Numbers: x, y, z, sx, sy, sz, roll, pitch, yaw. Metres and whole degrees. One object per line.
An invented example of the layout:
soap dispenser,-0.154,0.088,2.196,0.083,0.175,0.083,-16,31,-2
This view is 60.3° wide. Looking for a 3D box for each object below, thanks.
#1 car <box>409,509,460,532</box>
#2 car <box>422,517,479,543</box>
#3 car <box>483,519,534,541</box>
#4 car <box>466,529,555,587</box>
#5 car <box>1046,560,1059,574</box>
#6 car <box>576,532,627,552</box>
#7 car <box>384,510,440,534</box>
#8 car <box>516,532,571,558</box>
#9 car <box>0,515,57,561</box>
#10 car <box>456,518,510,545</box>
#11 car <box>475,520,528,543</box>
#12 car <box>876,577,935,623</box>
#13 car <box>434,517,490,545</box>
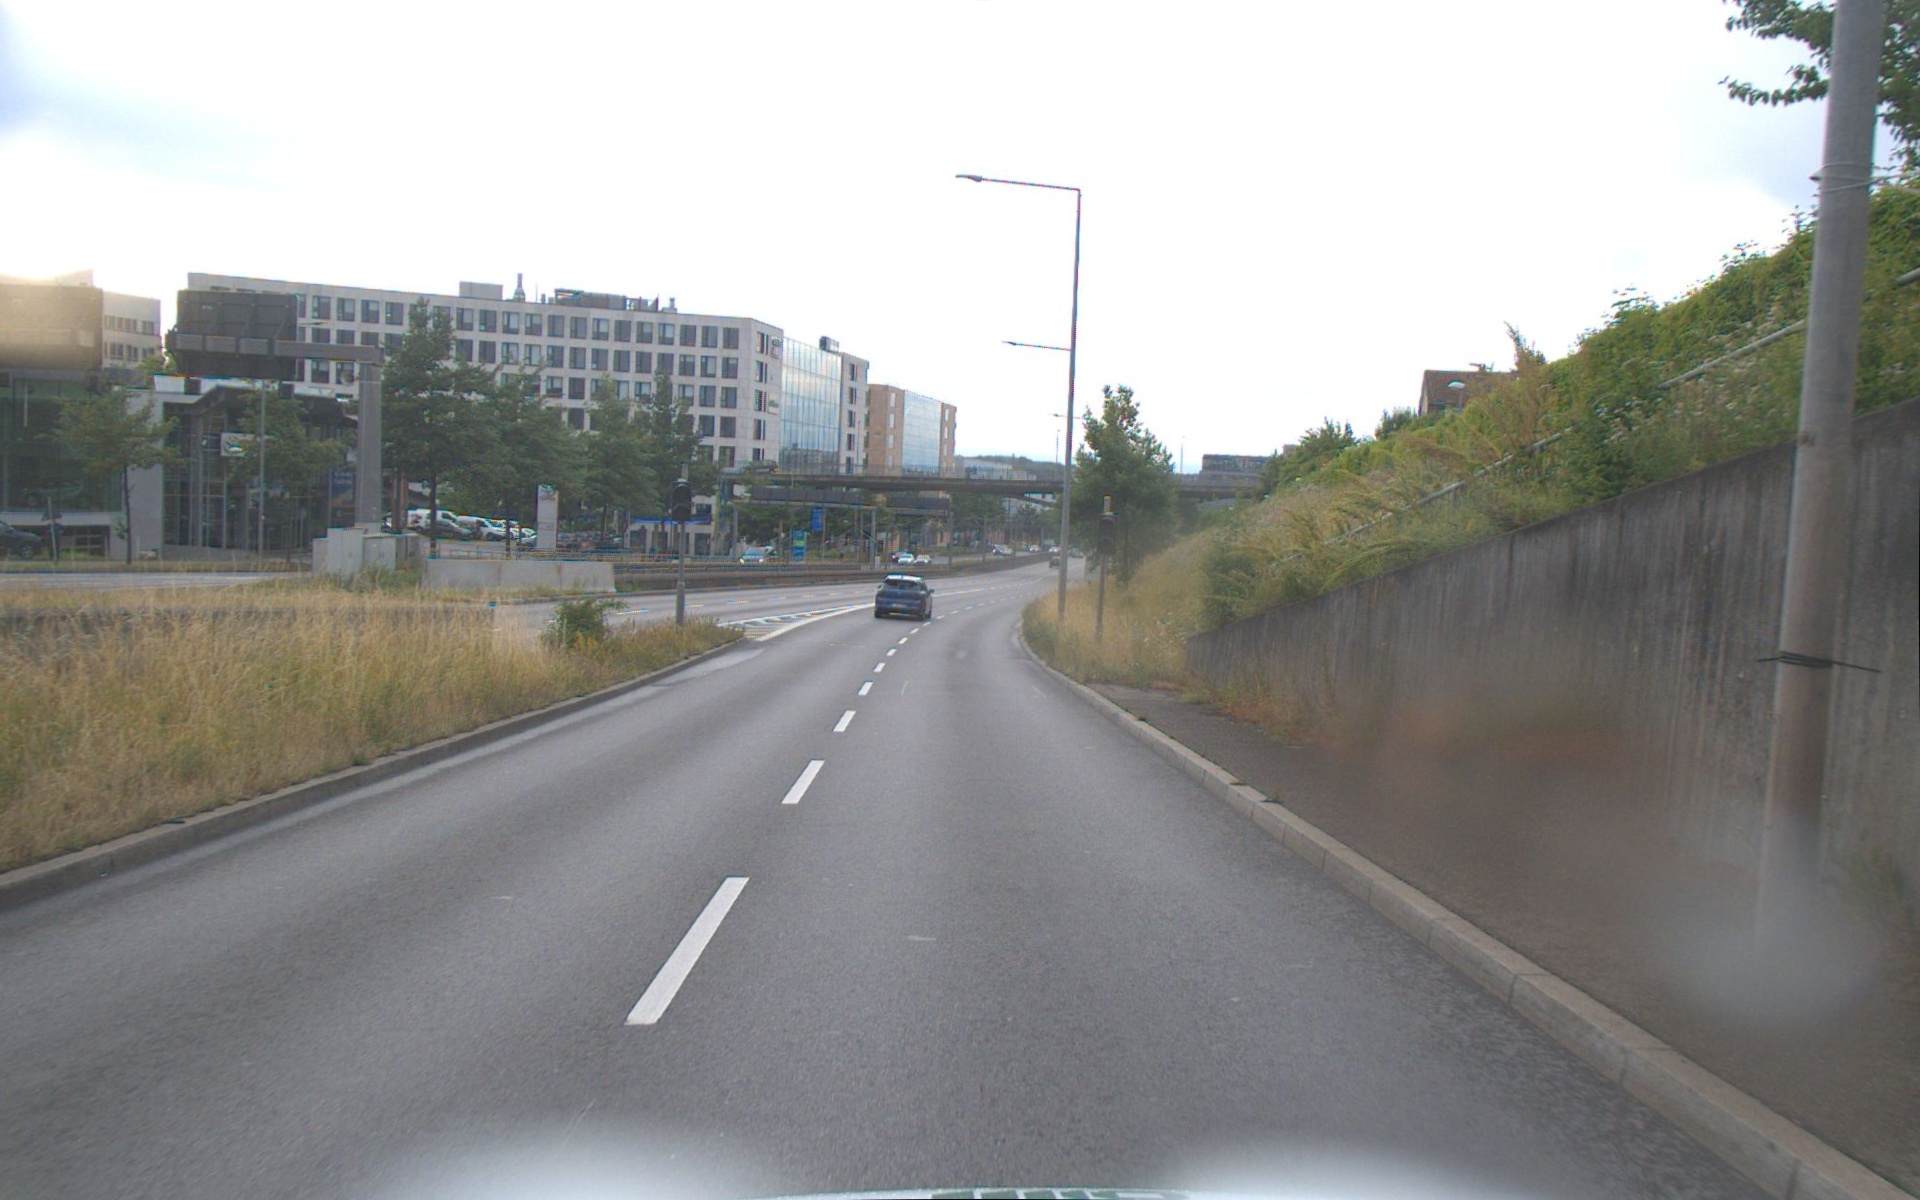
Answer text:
car,-46.746,-7.055,147.135,3.905,1.678,1.823,5,4,3
car,-42.015,-5.778,136.416,3.904,1.678,2.002,5,4,5
car,-40.741,-6.326,149.355,3.904,1.678,2.003,6,4,12
car,-15.046,-1.442,55.509,1.653,1.617,3.553,5,4,5
car,13.388,-4.784,239.663,1.824,1.779,4.004,5,4,3
car,-31.484,-5.074,145.227,3.904,1.377,1.851,5,2,9
car,-46.628,-6.650,140.794,3.904,1.678,2.002,5,4,5
car,-33.473,-4.423,132.820,3.934,1.679,1.987,4,2,-24
car,-39.774,-2.553,67.905,1.880,1.712,4.500,7,5,25
car,-40.745,-5.857,141.368,3.904,1.907,2.003,6,4,12
car,-40.680,-6.071,146.785,3.904,1.678,2.003,6,4,12
car,-1.871,-0.012,57.550,1.712,1.444,3.481,0,2,4
car,-41.881,-5.779,139.102,3.903,2.048,2.002,4,2,12
